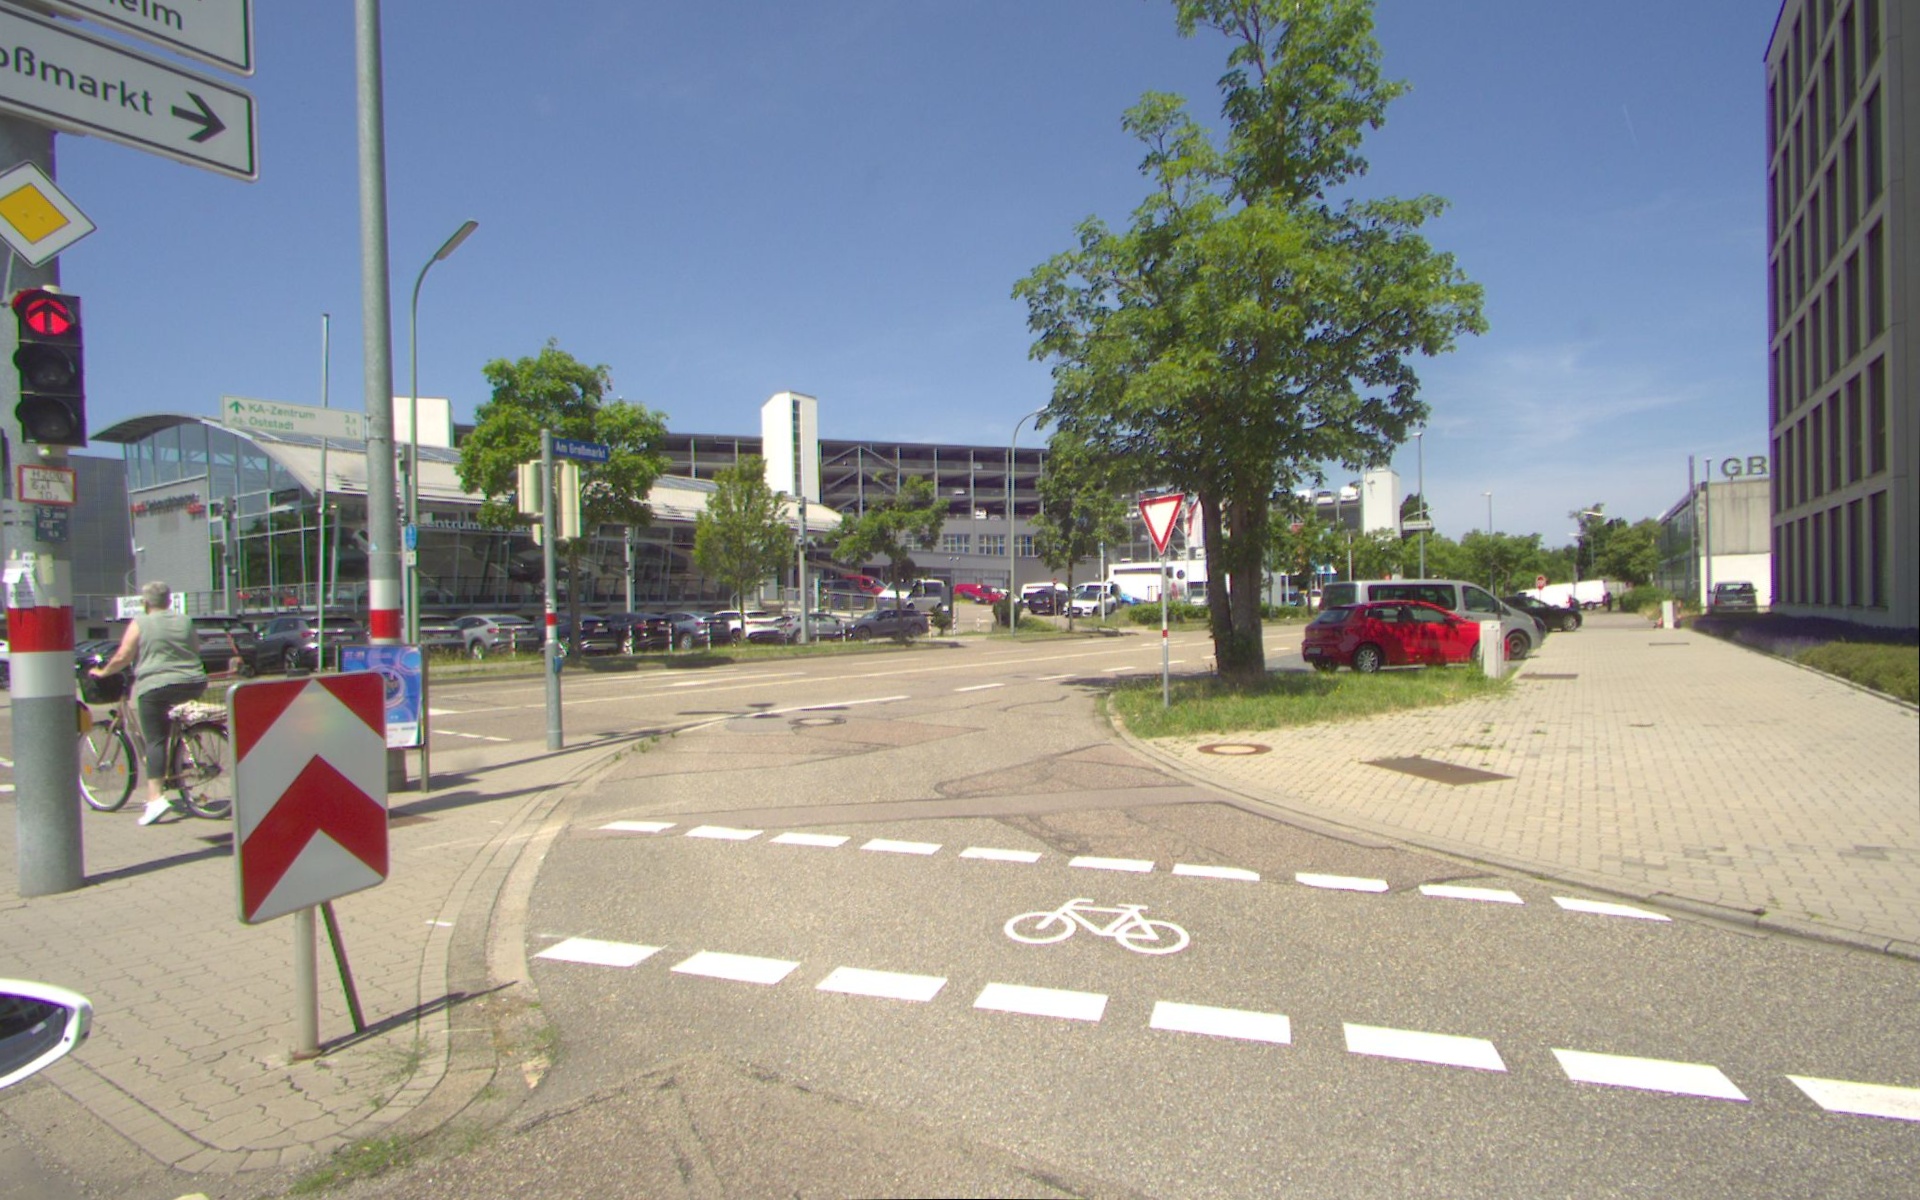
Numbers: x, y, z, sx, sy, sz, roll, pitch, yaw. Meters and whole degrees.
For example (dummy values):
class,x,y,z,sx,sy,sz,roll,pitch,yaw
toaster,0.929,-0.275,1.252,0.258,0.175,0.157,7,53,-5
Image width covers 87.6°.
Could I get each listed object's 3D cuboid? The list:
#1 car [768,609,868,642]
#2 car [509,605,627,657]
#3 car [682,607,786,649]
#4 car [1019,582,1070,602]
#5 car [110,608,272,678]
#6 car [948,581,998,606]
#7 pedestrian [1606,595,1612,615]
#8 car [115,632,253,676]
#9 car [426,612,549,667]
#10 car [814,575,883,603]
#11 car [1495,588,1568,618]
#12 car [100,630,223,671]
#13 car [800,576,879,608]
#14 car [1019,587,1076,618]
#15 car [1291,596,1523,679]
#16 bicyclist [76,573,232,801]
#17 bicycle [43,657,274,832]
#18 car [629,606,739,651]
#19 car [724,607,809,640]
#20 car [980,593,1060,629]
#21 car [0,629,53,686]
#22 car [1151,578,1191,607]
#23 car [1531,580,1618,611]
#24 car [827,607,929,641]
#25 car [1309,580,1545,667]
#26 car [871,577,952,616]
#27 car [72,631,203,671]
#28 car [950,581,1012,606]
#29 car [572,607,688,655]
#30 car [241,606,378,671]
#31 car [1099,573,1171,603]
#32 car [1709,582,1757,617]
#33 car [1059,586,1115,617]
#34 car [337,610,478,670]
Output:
class,x,y,z,sx,sy,sz,roll,pitch,yaw
car,-7.027,1.248,49.629,4.527,1.491,1.902,-1,0,-34
car,-13.394,1.074,34.182,3.851,1.676,1.627,-1,-1,28
car,-9.284,1.178,41.183,3.937,1.675,1.844,-1,-3,28
car,7.776,-0.742,92.303,4.294,1.674,1.904,-1,0,31
car,-19.513,1.110,25.368,4.442,1.578,1.863,-3,0,33
car,0.986,-0.448,74.539,1.859,1.728,3.977,-1,-1,33
pedestrian,51.321,0.407,79.208,0.399,1.580,0.546,-1,1,33
car,-30.467,2.113,39.435,1.633,1.642,3.980,-1,-3,32
car,-15.047,1.203,31.866,3.758,1.637,1.635,0,0,28
car,-7.349,-0.714,66.076,4.082,1.745,1.907,-1,0,25
car,41.493,0.255,72.701,4.513,2.039,1.990,-1,-2,33
car,-32.875,2.074,41.318,1.619,1.600,3.642,-1,-3,32
car,-6.755,-0.429,56.488,1.888,1.730,4.560,-1,0,35
car,5.392,0.181,61.264,1.970,1.727,3.983,-1,-2,30
car,8.936,0.727,20.172,3.923,1.451,1.699,-2,-1,-7
bicyclist,-6.122,0.639,7.617,0.812,1.626,0.628,-1,-1,26
bicycle,-6.100,1.035,7.603,1.864,1.148,0.628,0,-1,26
car,-10.728,1.152,38.905,3.937,1.675,1.844,-1,-3,28
car,-10.009,1.208,51.745,3.938,1.591,1.842,-1,0,-28
car,3.069,0.550,50.277,1.888,1.717,4.560,-1,0,35
car,-25.143,1.399,24.117,1.843,1.407,4.583,-2,-3,34
car,16.393,-0.537,77.617,1.812,2.039,3.981,-1,-2,31
car,55.210,-0.317,90.039,6.606,2.552,2.206,-1,-2,35
car,-3.883,1.099,47.775,4.554,1.491,1.839,-1,0,-34
car,10.856,0.513,23.395,4.841,1.911,1.918,0,0,-12
car,-2.565,-0.162,54.167,1.885,1.992,5.228,-1,0,29
car,-34.722,2.143,42.367,1.610,1.593,3.977,-1,-3,32
car,1.652,-0.494,78.023,4.525,1.821,1.903,-1,0,34
car,-12.095,1.180,36.668,3.937,1.675,1.844,-1,-3,28
car,-17.899,1.094,27.506,3.946,1.675,1.840,-3,-3,35
car,12.007,-0.782,68.869,4.521,1.912,1.904,-1,0,31
car,42.227,0.016,54.765,1.772,1.750,3.978,-1,-2,34
car,7.649,0.137,60.202,1.970,1.727,3.983,-1,-2,30
car,-16.541,1.203,29.957,3.937,1.675,1.844,-1,-3,28
